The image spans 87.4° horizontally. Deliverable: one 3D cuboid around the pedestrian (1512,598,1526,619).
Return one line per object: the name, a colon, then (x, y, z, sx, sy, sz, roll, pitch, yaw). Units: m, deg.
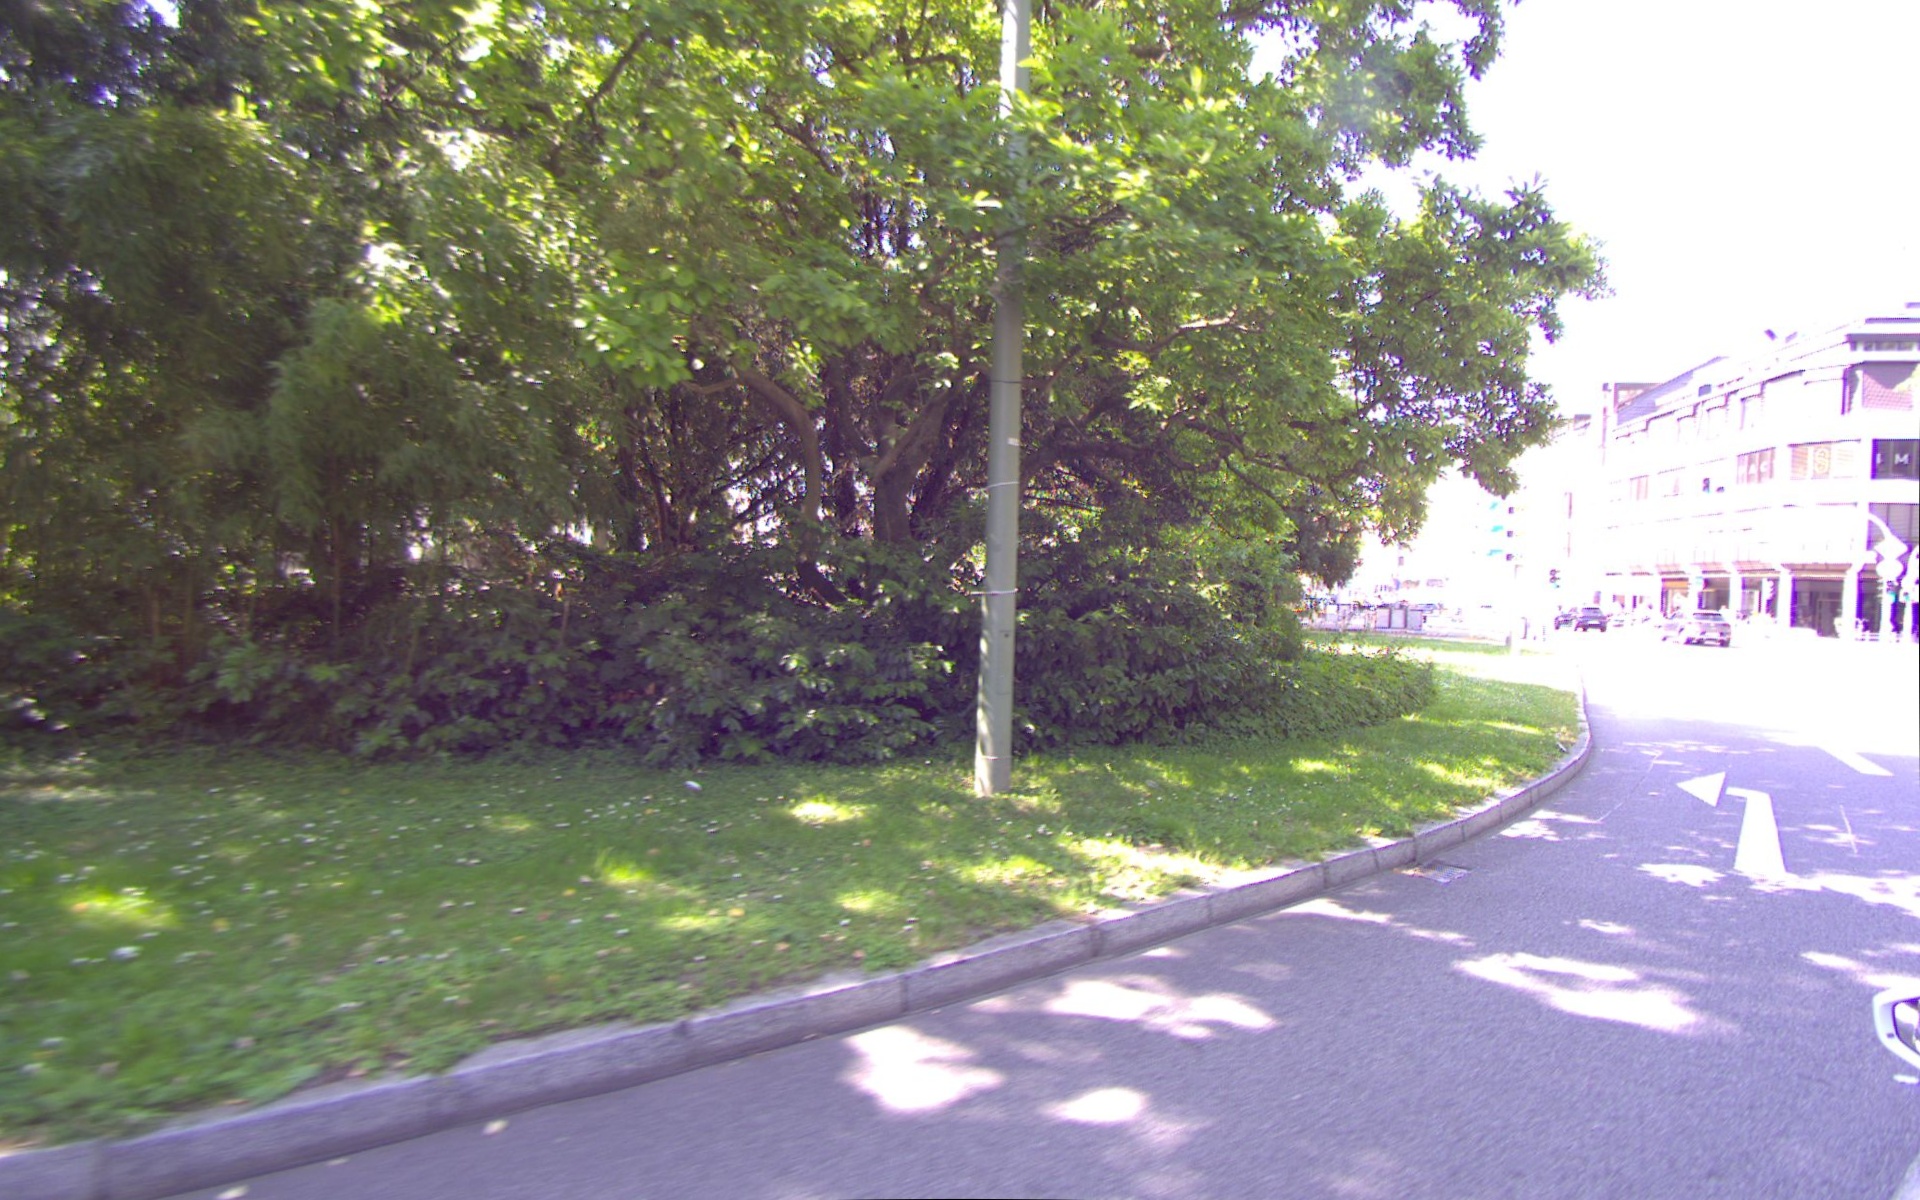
pedestrian: (47.922, 0.724, 86.120, 0.758, 1.837, 0.829, 2, 2, 16)

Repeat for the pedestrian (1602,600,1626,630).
pedestrian: (41.231, 0.943, 63.373, 0.958, 1.837, 0.950, 2, 2, 17)

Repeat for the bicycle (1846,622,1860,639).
bicycle: (47.555, 1.621, 53.497, 0.501, 0.913, 1.514, 2, 1, 41)

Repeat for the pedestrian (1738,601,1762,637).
pedestrian: (44.932, 1.086, 57.129, 0.758, 1.985, 0.829, 2, 2, 17)

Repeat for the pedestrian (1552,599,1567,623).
pedestrian: (47.438, 0.853, 79.460, 0.758, 1.837, 0.829, 2, 2, 16)

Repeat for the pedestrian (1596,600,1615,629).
pedestrian: (41.641, 0.933, 64.797, 0.758, 1.837, 0.829, 2, 2, 17)

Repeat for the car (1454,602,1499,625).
car: (34.425, 0.883, 67.090, 1.803, 1.428, 3.795, 2, 1, 14)

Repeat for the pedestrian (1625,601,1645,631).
pedestrian: (42.769, 1.002, 63.675, 0.758, 1.837, 0.829, 2, 2, 17)

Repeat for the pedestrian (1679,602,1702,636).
pedestrian: (41.715, 1.078, 57.403, 0.758, 1.837, 0.829, 2, 2, 17)

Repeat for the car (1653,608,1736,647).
car: (32.928, 1.184, 45.151, 1.915, 1.558, 4.081, 2, 1, 20)

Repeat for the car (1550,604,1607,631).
car: (36.399, 1.001, 59.195, 1.795, 1.428, 3.795, 2, 1, 15)

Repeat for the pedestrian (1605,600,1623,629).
pedestrian: (43.586, 0.969, 66.951, 0.758, 1.837, 0.829, 2, 2, 17)

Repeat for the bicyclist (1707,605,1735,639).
bicyclist: (40.764, 1.157, 53.826, 0.738, 1.771, 1.130, 2, 2, 15)

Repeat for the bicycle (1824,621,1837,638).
bicycle: (46.885, 1.581, 54.082, 0.501, 0.913, 1.514, 2, 1, 41)

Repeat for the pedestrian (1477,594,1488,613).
pedestrian: (53.283, 0.364, 102.435, 0.758, 1.837, 0.829, 2, 2, 16)

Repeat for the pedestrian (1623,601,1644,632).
pedestrian: (41.205, 0.990, 61.458, 0.758, 1.837, 0.829, 2, 2, 17)

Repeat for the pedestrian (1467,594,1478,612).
pedestrian: (52.394, 0.332, 102.641, 0.758, 1.837, 0.829, 2, 2, 16)

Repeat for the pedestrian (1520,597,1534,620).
pedestrian: (46.767, 0.725, 82.812, 0.758, 1.837, 0.829, 2, 2, 16)

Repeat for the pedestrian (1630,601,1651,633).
pedestrian: (40.851, 1.024, 60.320, 0.758, 1.837, 0.829, 2, 2, 17)

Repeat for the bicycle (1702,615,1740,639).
bicycle: (40.774, 1.435, 53.859, 0.715, 1.195, 2.327, 3, 1, 15)
